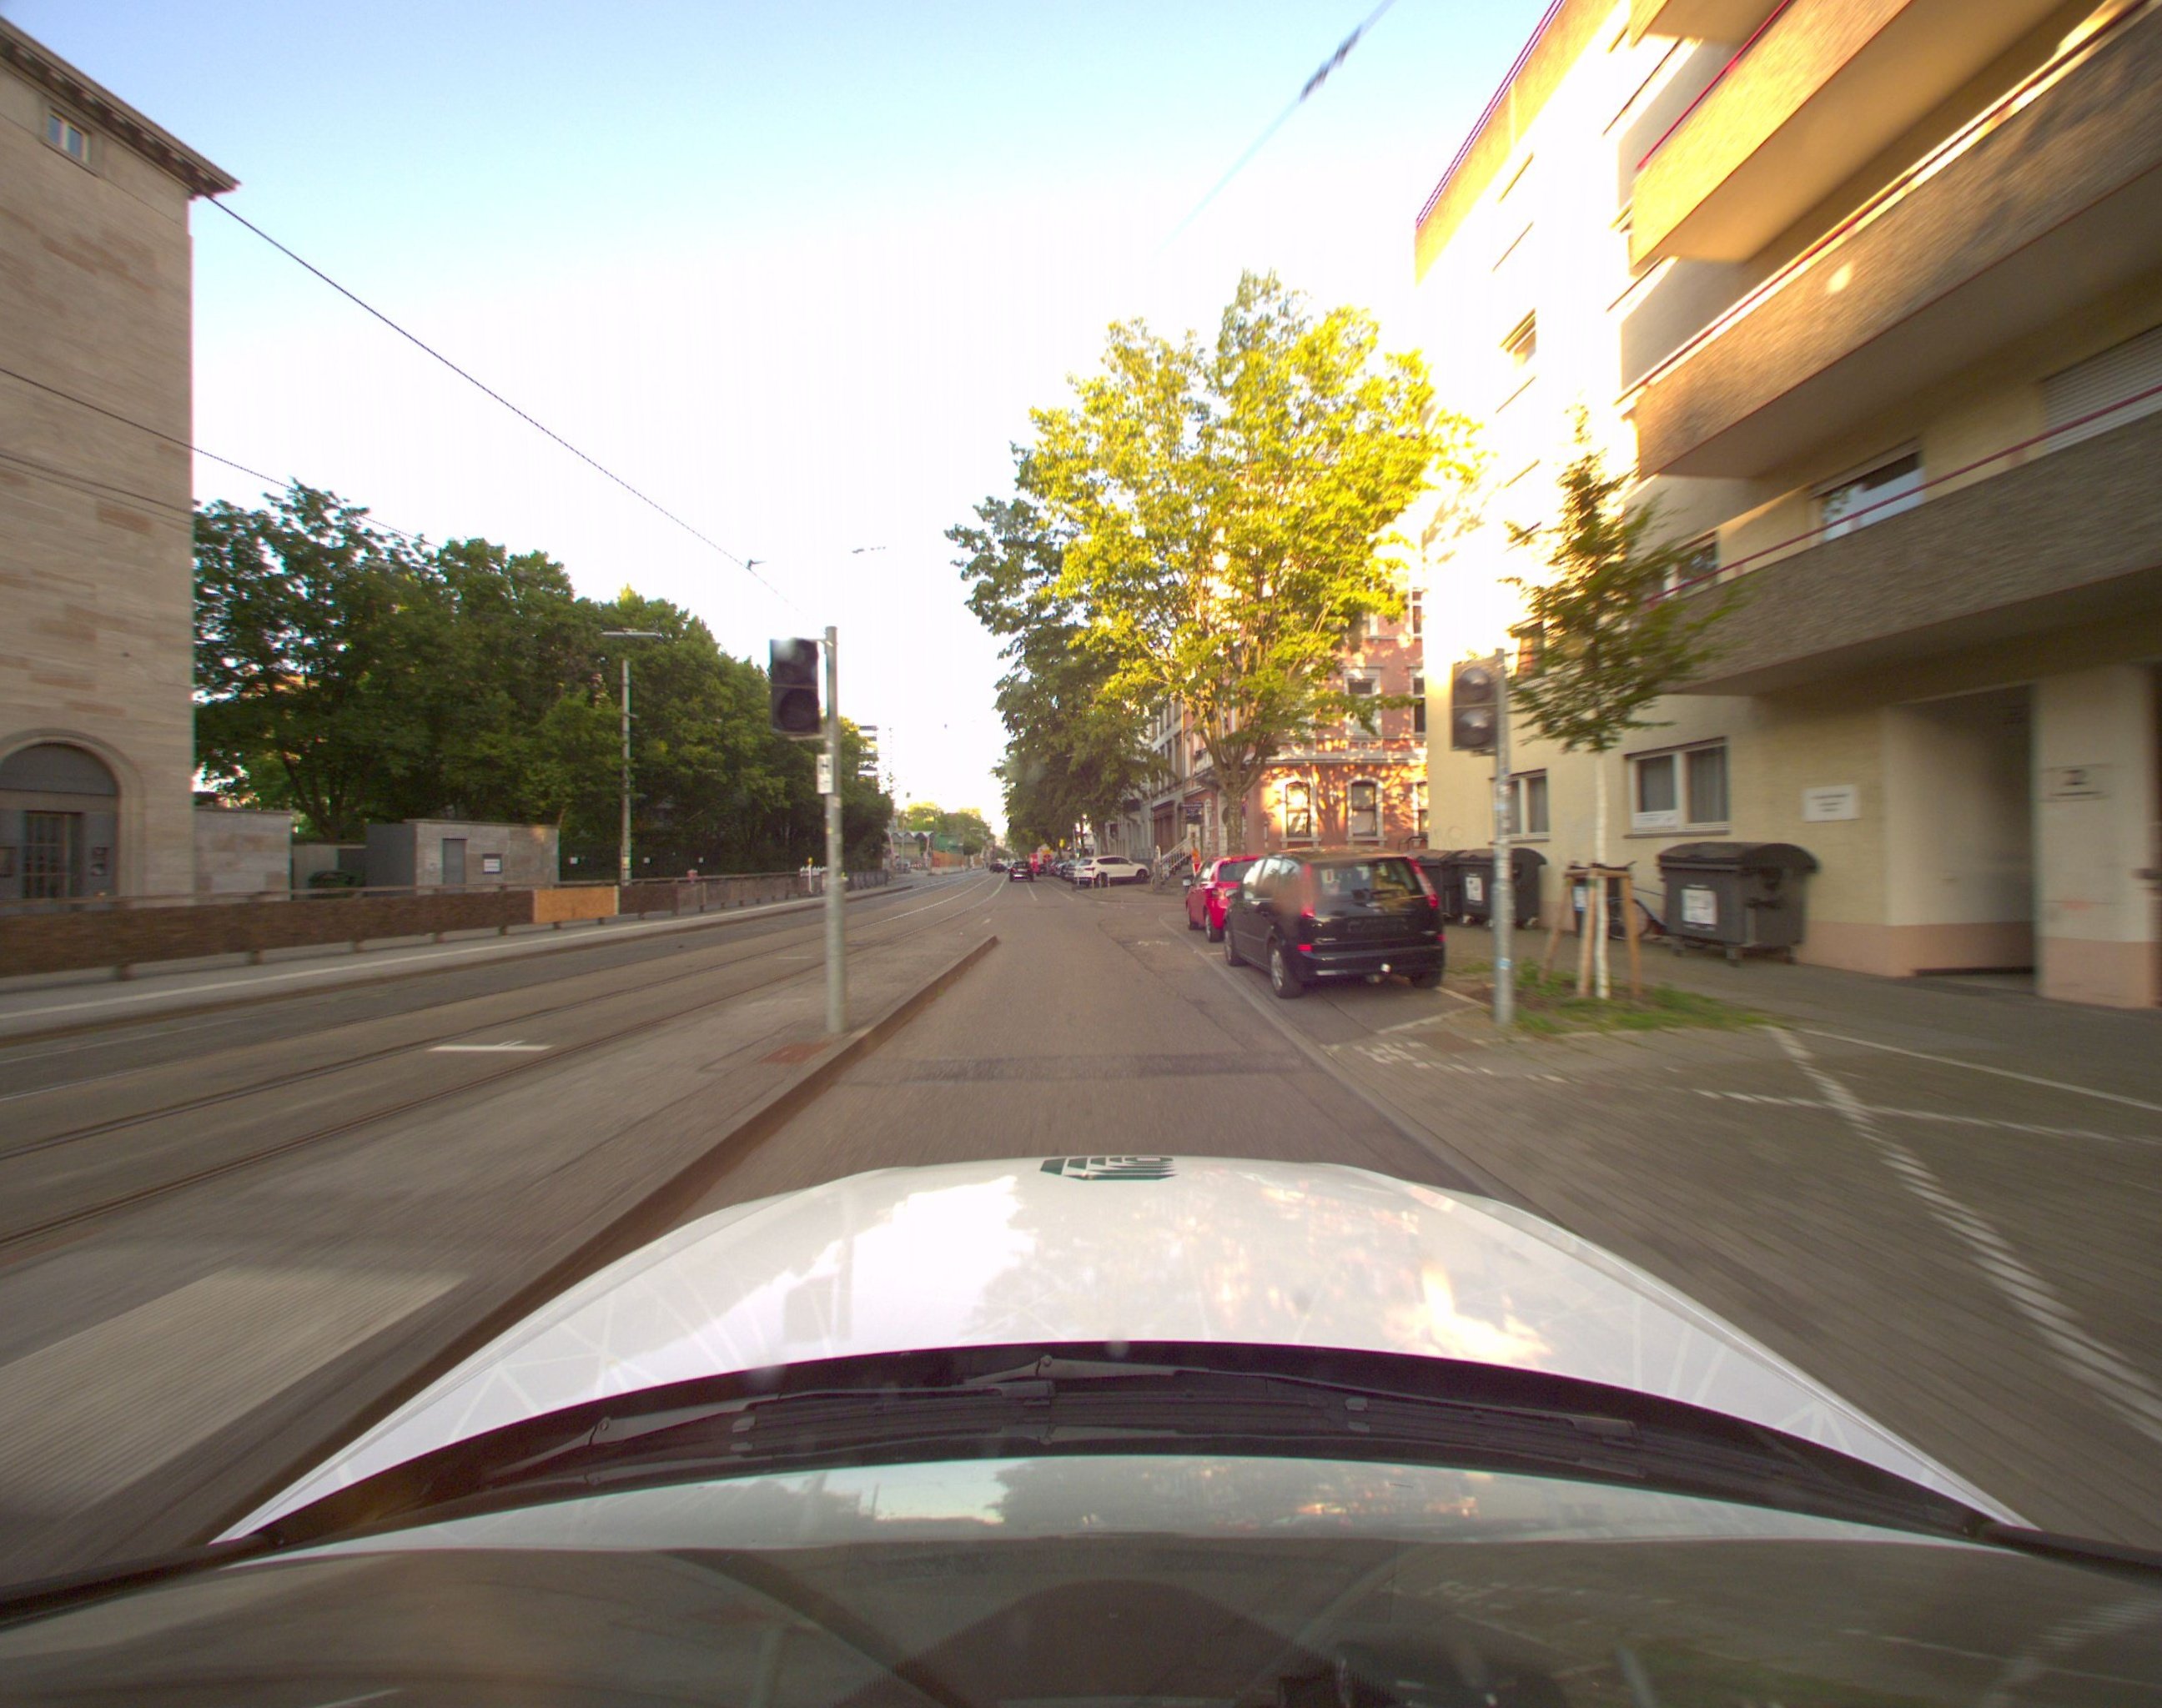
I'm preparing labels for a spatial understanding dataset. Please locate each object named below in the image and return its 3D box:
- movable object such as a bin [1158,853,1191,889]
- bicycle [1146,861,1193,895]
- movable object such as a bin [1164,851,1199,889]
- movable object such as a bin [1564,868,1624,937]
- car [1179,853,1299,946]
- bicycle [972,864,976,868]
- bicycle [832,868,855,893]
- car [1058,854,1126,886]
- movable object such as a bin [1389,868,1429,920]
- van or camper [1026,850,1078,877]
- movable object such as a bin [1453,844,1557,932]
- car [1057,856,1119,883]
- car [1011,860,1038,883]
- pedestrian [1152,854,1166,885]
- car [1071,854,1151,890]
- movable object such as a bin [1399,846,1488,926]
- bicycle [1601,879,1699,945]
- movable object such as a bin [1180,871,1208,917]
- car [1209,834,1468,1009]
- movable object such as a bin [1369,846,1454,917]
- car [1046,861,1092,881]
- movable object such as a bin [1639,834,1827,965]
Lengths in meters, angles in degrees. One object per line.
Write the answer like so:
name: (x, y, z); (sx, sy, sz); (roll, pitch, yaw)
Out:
movable object such as a bin: (3.963, 0.707, 34.736); (1.139, 1.502, 1.396); (-1, -1, -5)
bicycle: (3.442, 0.918, 31.634); (1.928, 1.266, 0.594); (-1, -1, -40)
movable object such as a bin: (4.079, 0.654, 33.313); (1.139, 1.502, 1.396); (-1, -1, -5)
movable object such as a bin: (7.993, 0.742, 12.705); (0.553, 1.047, 0.570); (-1, -1, -6)
car: (2.941, 0.800, 15.887); (1.559, 1.536, 3.692); (-3, -1, 0)
bicycle: (-25.295, 2.835, 191.846); (0.947, 0.849, 2.689); (-1, 0, -7)
bicycle: (-10.767, 1.189, 36.976); (0.461, 1.075, 2.021); (-1, -1, 0)
car: (0.723, 0.999, 51.190); (3.977, 1.668, 1.878); (-3, -1, -42)
movable object such as a bin: (6.825, 0.822, 16.963); (0.553, 1.047, 0.570); (-1, -1, -6)
van or camper: (-3.195, 1.046, 91.448); (5.579, 2.530, 2.062); (-4, 0, -40)
movable object such as a bin: (7.561, 0.586, 14.593); (1.139, 1.502, 1.268); (-1, -1, -5)
car: (0.516, 1.072, 57.241); (3.973, 1.603, 1.820); (-3, -1, -37)
car: (-4.298, 1.324, 61.230); (1.879, 1.620, 3.992); (1, -1, -5)
pedestrian: (4.163, 0.827, 43.533); (0.585, 1.609, 0.623); (-1, -1, -5)
car: (1.617, 0.938, 43.214); (3.972, 1.627, 1.656); (-3, 1, -36)
movable object such as a bin: (7.090, 0.603, 15.990); (1.071, 1.502, 1.316); (-1, -1, -7)
bicycle: (8.217, 0.817, 11.803); (0.413, 0.864, 1.221); (-1, 0, -10)
movable object such as a bin: (2.899, 1.018, 20.906); (0.708, 1.153, 0.589); (-1, -1, 7)
car: (2.867, 0.681, 10.090); (1.739, 1.632, 4.085); (-3, -1, -2)
movable object such as a bin: (7.318, 0.584, 18.143); (1.139, 1.502, 1.595); (-1, -1, -5)
car: (-1.171, 1.633, 79.609); (3.969, 1.603, 1.822); (-4, 0, -32)
movable object such as a bin: (8.070, 0.529, 10.179); (1.111, 1.502, 1.479); (-1, -1, -5)
